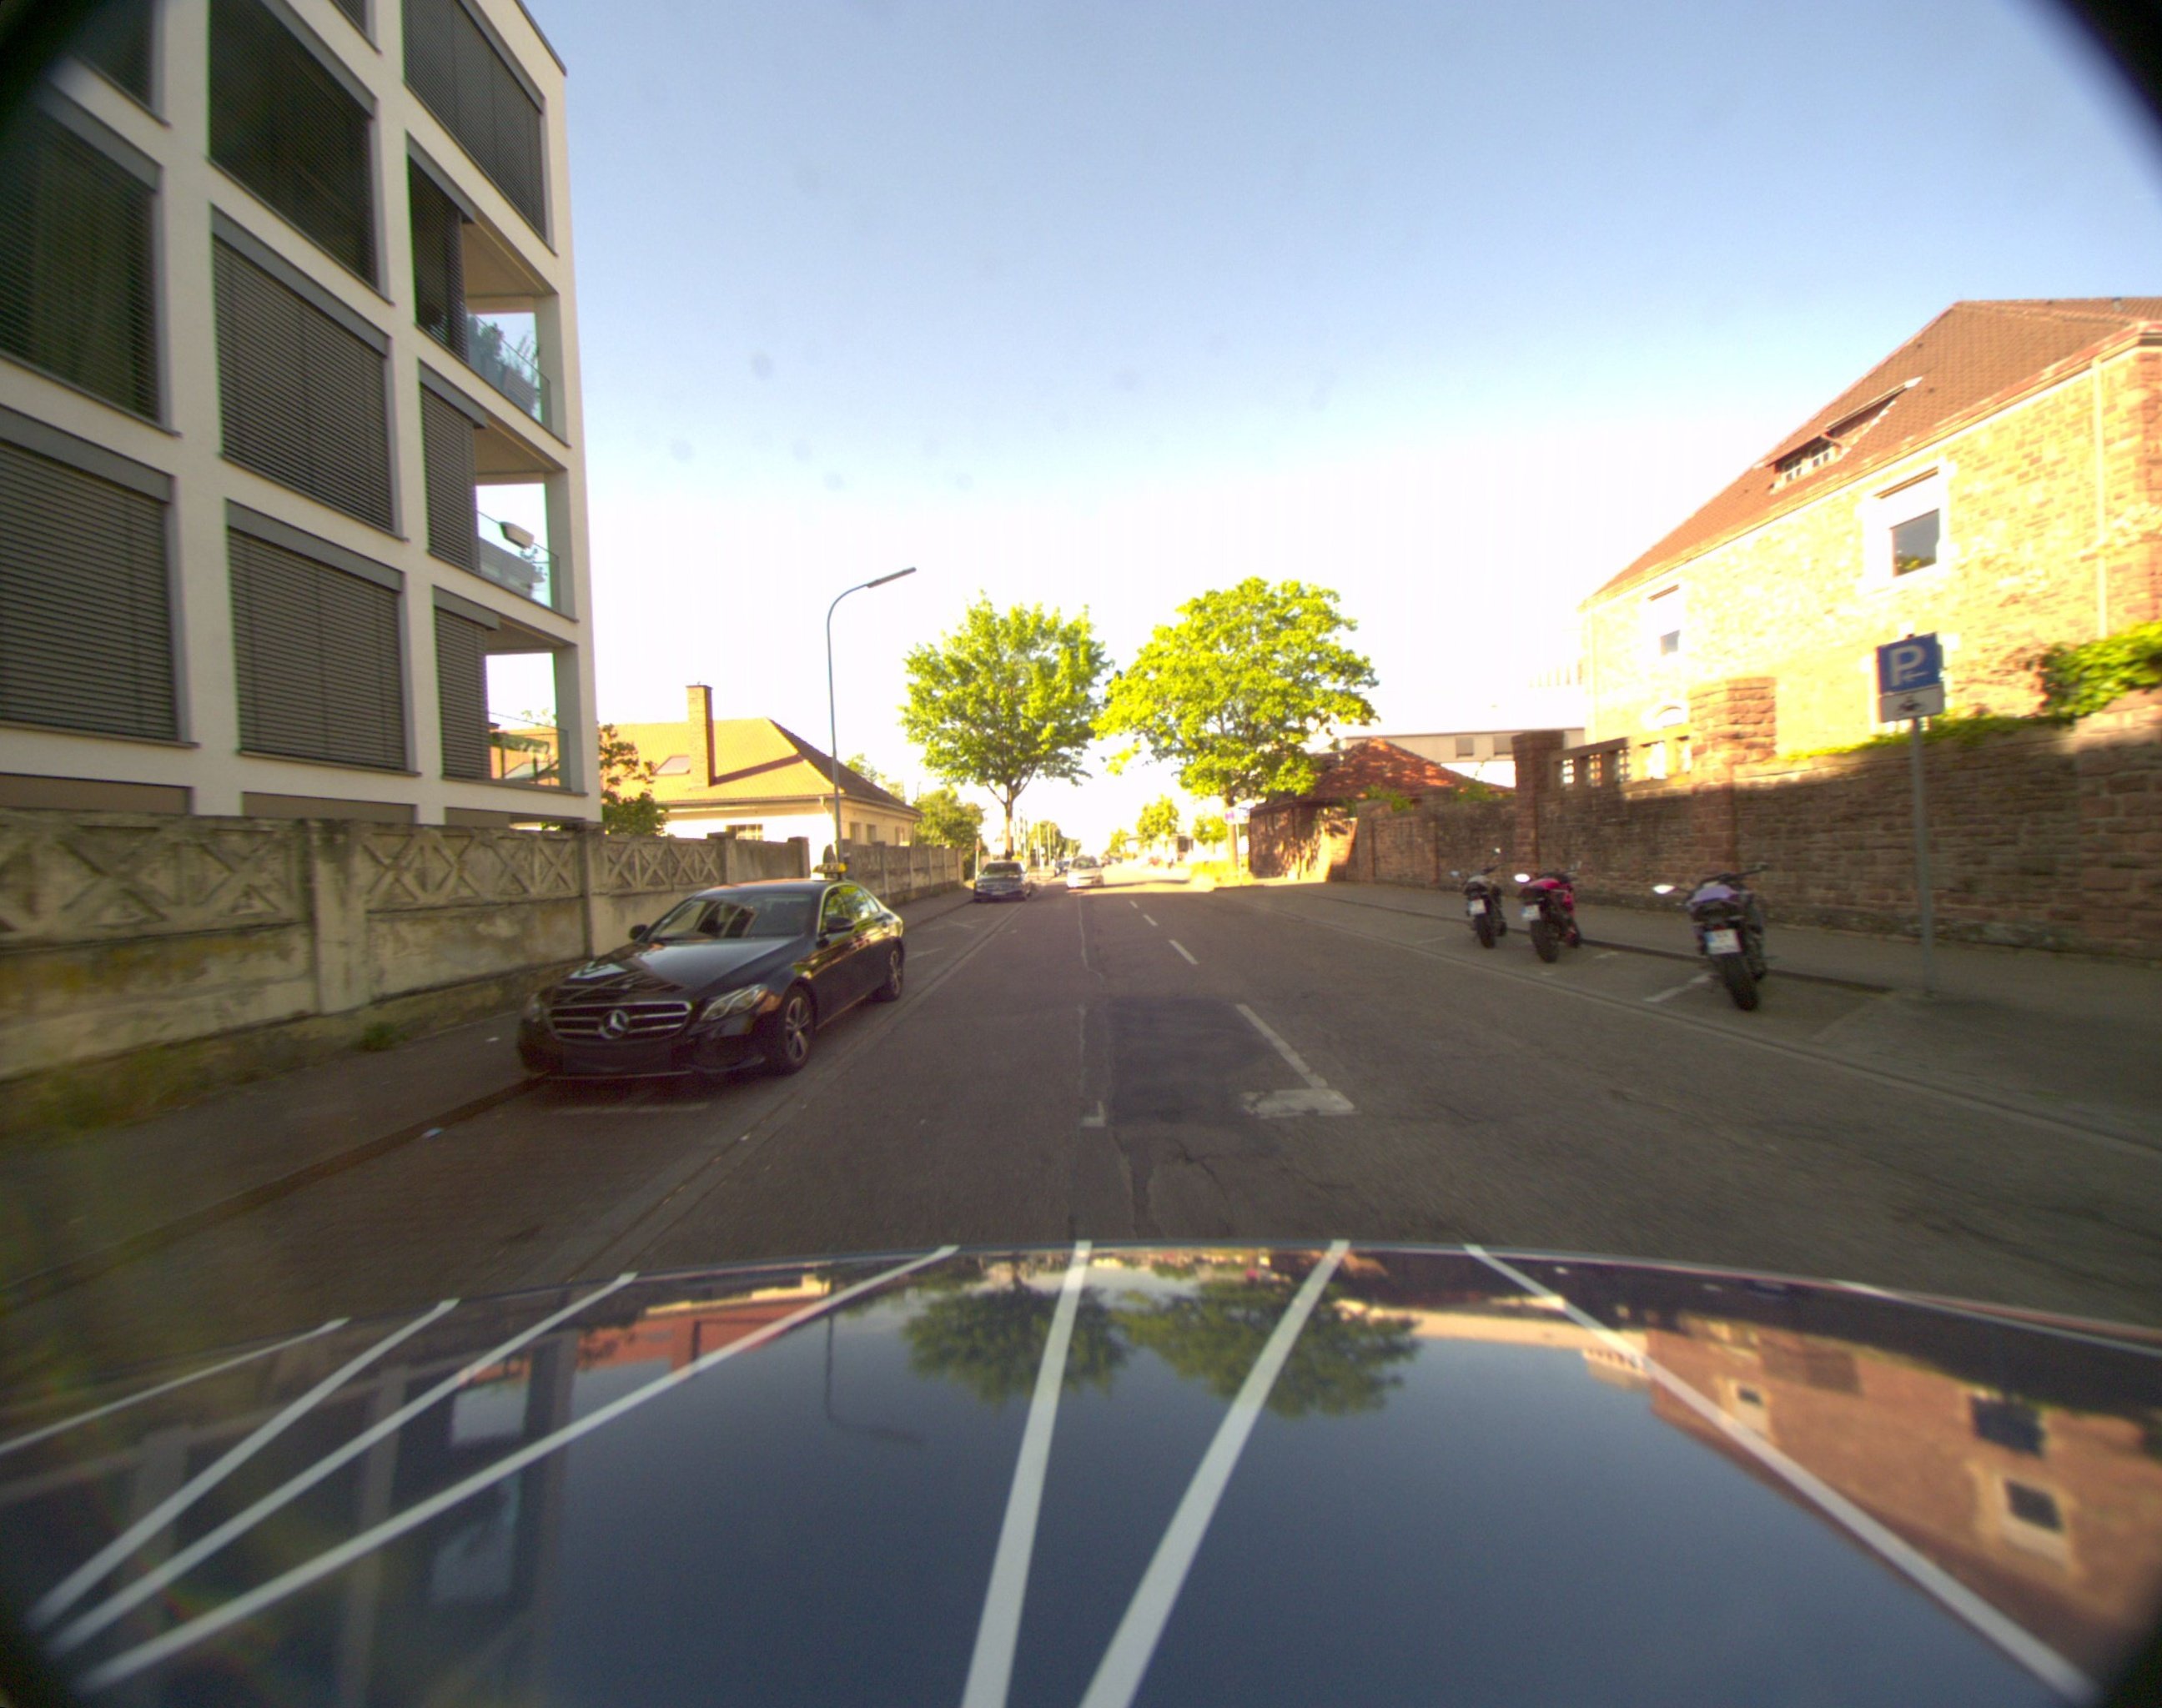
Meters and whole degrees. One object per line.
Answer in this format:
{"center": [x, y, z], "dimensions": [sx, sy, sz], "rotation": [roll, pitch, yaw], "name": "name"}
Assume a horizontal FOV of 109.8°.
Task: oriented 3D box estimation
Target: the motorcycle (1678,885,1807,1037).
{"center": [5.846, 0.864, 6.818], "dimensions": [0.600, 1.026, 2.132], "rotation": [-3, 0, 35], "name": "motorcycle"}

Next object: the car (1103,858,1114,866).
{"center": [5.347, 1.498, 146.847], "dimensions": [1.998, 1.406, 4.000], "rotation": [-5, 0, 1], "name": "car"}

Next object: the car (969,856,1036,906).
{"center": [-2.834, 0.944, 28.368], "dimensions": [1.887, 1.592, 4.298], "rotation": [-3, 0, 1], "name": "car"}

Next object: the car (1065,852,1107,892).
{"center": [0.259, 0.807, 35.673], "dimensions": [1.748, 1.613, 4.106], "rotation": [-5, 1, 1], "name": "car"}

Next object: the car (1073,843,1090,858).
{"center": [0.097, -0.431, 94.956], "dimensions": [1.998, 1.668, 4.000], "rotation": [-3, 0, 1], "name": "car"}

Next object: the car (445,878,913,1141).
{"center": [-3.026, 1.046, 7.106], "dimensions": [1.724, 1.402, 4.763], "rotation": [-3, 0, 1], "name": "car"}

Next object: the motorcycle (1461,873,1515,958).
{"center": [6.083, 0.871, 11.307], "dimensions": [0.530, 1.033, 2.094], "rotation": [-4, 0, 32], "name": "motorcycle"}

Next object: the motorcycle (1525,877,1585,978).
{"center": [6.091, 0.889, 9.787], "dimensions": [0.530, 1.033, 2.094], "rotation": [-4, 0, 32], "name": "motorcycle"}

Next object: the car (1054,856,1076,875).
{"center": [-1.433, 0.983, 67.900], "dimensions": [1.757, 1.459, 3.485], "rotation": [-5, 1, -1], "name": "car"}
